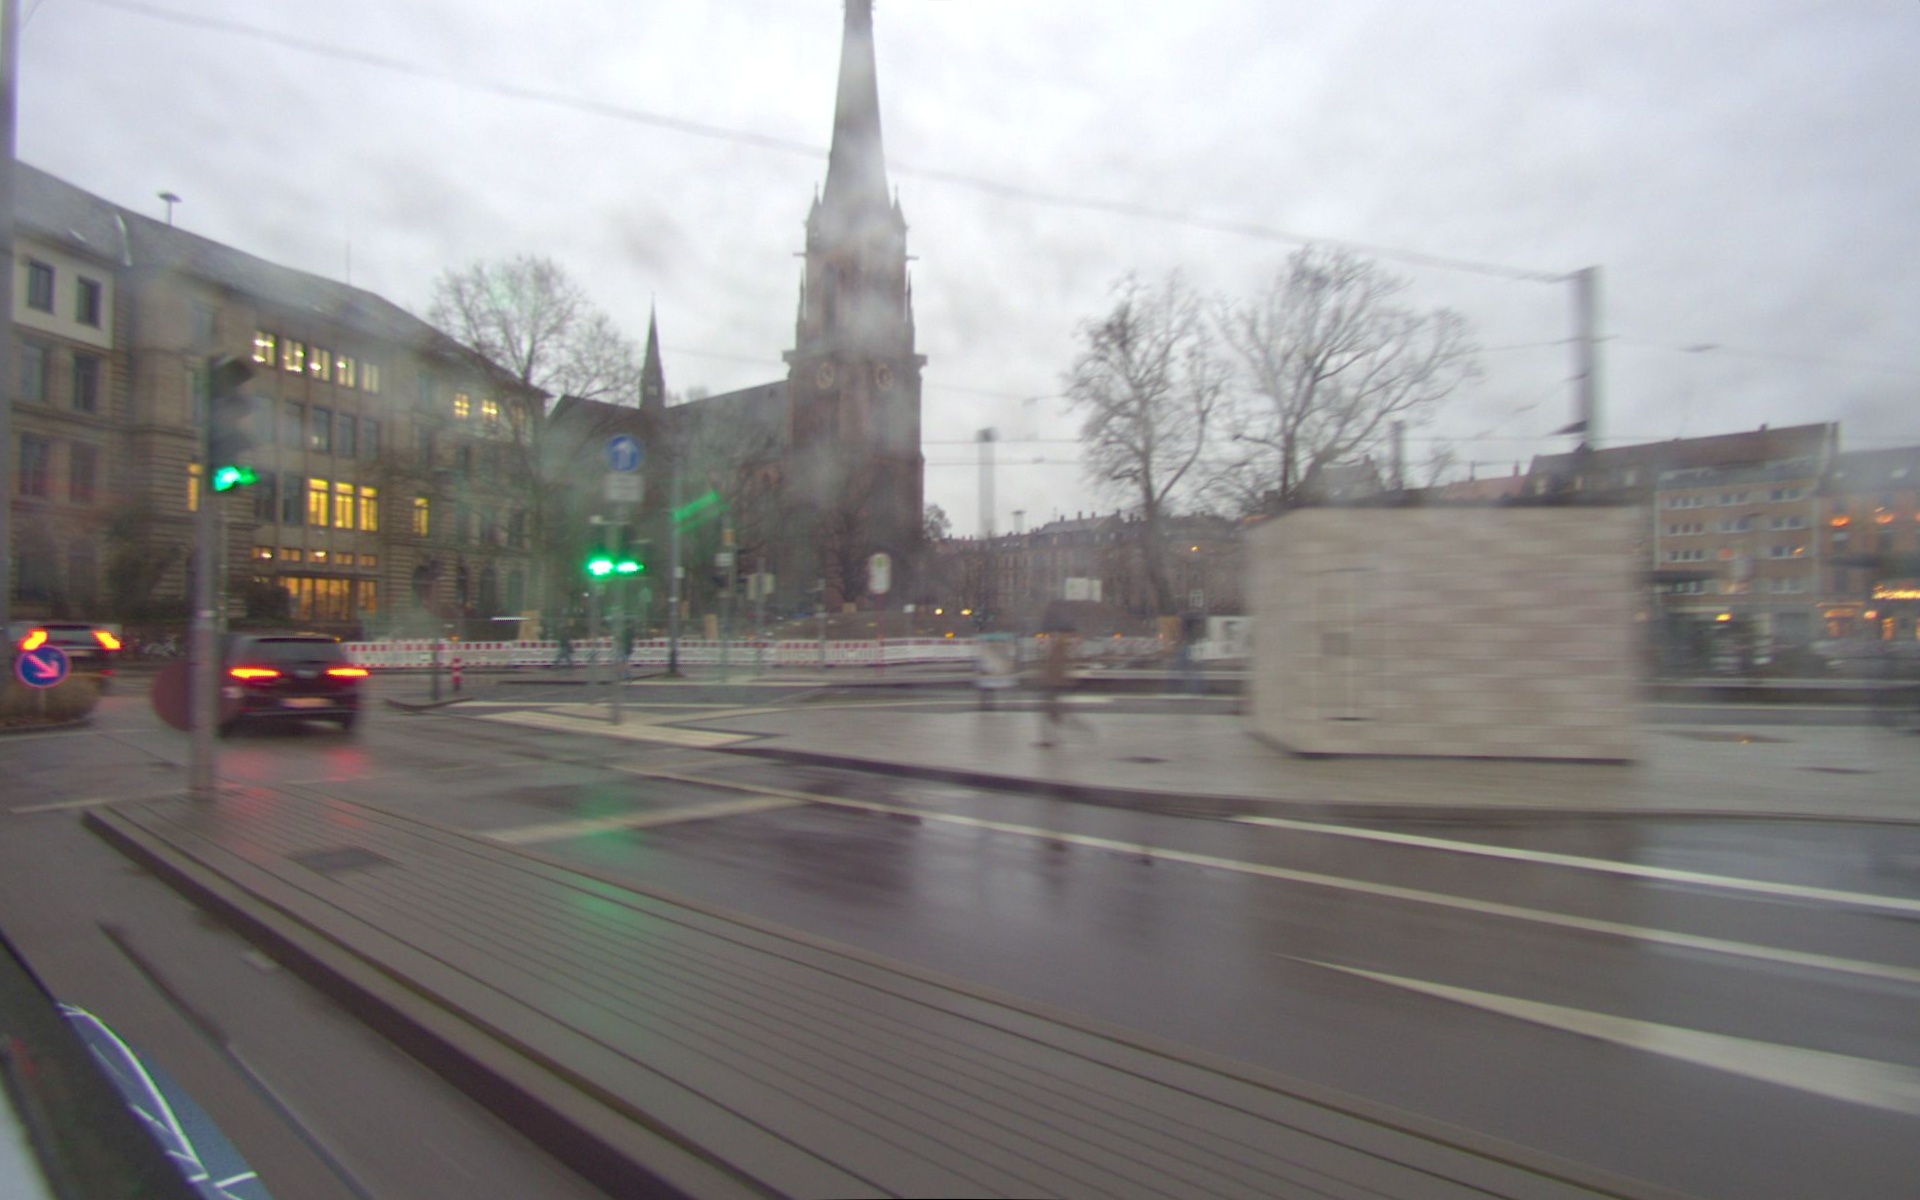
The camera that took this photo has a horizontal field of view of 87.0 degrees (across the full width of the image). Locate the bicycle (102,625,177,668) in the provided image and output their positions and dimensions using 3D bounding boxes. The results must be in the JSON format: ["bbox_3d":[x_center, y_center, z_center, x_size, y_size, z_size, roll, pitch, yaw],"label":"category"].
[{"bbox_3d":[-34.322,1.915,42.365,2.388,1.701,0.715,0,1,-33],"label":"bicycle"}]

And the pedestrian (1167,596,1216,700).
[{"bbox_3d":[4.161,0.852,18.216,0.816,1.827,0.603,0,0,10],"label":"pedestrian"}]

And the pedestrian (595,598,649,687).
[{"bbox_3d":[-9.335,1.139,27.942,1.062,2.388,0.984,1,1,36],"label":"pedestrian"}]

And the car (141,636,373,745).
[{"bbox_3d":[-10.517,1.248,15.020,4.363,1.389,1.729,-2,-4,40],"label":"car"}]

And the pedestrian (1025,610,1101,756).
[{"bbox_3d":[1.233,0.967,12.184,0.663,1.686,0.732,0,0,-18],"label":"pedestrian"}]

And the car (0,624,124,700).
[{"bbox_3d":[-21.806,1.455,24.396,4.526,1.675,1.736,-2,-4,40],"label":"car"}]
